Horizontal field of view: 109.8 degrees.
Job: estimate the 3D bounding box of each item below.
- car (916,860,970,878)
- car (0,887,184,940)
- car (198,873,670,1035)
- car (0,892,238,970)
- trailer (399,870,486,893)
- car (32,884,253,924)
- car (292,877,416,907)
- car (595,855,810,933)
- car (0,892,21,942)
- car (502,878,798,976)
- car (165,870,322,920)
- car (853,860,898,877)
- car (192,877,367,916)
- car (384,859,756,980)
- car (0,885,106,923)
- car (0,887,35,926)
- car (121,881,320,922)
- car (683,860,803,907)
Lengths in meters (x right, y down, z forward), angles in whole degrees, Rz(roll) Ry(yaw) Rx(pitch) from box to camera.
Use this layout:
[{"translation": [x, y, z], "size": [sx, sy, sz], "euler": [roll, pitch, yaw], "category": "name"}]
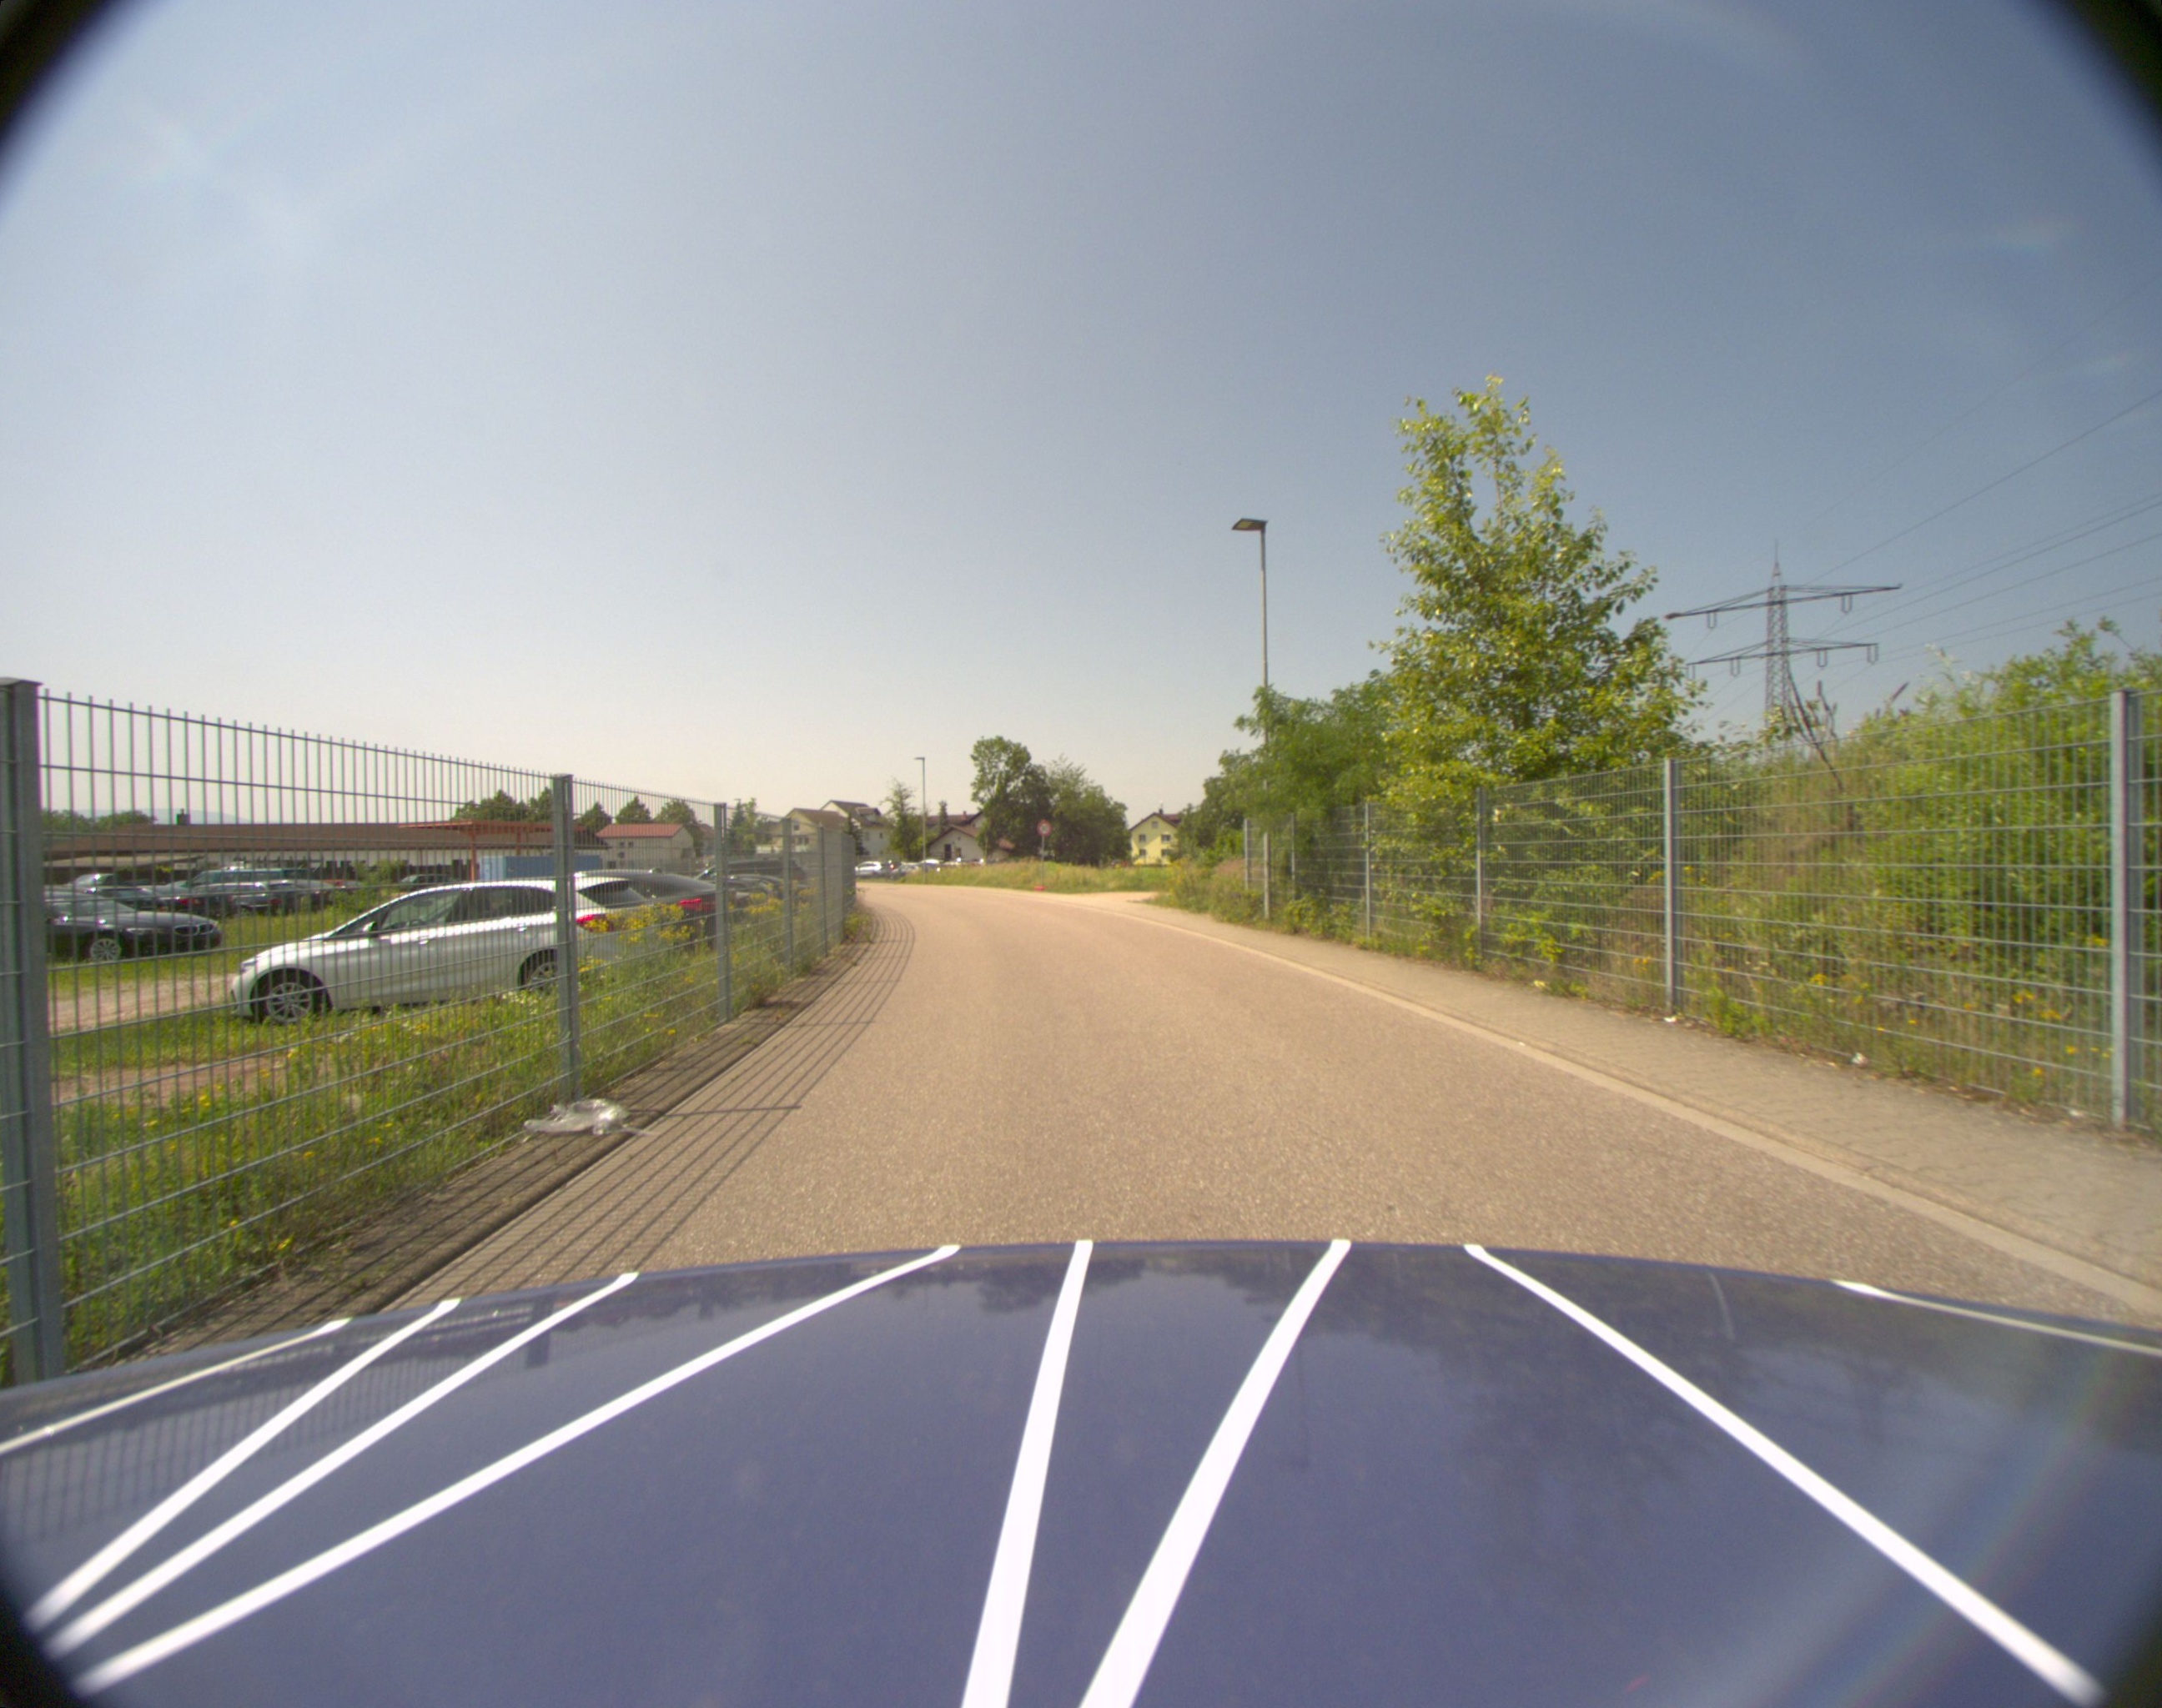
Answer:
[{"translation": [-10.297, 1.106, 56.587], "size": [4.391, 1.326, 1.585], "euler": [-1, 0, 43], "category": "car"}, {"translation": [-27.961, 1.614, 20.711], "size": [4.389, 1.267, 1.877], "euler": [-1, 0, -7], "category": "car"}, {"translation": [-7.645, 1.119, 9.411], "size": [4.135, 1.660, 1.722], "euler": [-1, 0, -9], "category": "car"}, {"translation": [-20.344, 1.501, 15.086], "size": [4.759, 1.344, 1.820], "euler": [-1, 0, -7], "category": "car"}, {"translation": [-46.639, 1.988, 55.625], "size": [1.765, 1.556, 4.626], "euler": [-3, -1, 20], "category": "trailer"}, {"translation": [-28.889, 1.521, 23.511], "size": [4.389, 1.027, 1.618], "euler": [-1, 0, -7], "category": "car"}, {"translation": [-30.106, 1.559, 31.564], "size": [3.375, 1.102, 1.670], "euler": [-1, 0, -7], "category": "car"}, {"translation": [-9.410, 0.944, 19.334], "size": [4.706, 1.758, 1.739], "euler": [-1, 0, -21], "category": "car"}, {"translation": [-27.790, 1.535, 17.351], "size": [4.389, 1.176, 1.576], "euler": [-1, 0, -7], "category": "car"}, {"translation": [-7.877, 1.293, 14.311], "size": [4.483, 1.573, 1.795], "euler": [-1, 0, -8], "category": "car"}, {"translation": [-36.091, 1.727, 32.872], "size": [4.389, 1.970, 1.841], "euler": [-1, 0, -7], "category": "car"}, {"translation": [-18.290, 1.265, 67.522], "size": [3.638, 1.481, 1.584], "euler": [-1, 0, 22], "category": "car"}, {"translation": [-30.372, 1.592, 28.920], "size": [4.389, 1.337, 1.841], "euler": [-1, 0, -7], "category": "car"}, {"translation": [-7.674, 0.930, 11.788], "size": [4.482, 1.660, 1.722], "euler": [-1, 0, -5], "category": "car"}, {"translation": [-41.576, 1.953, 29.588], "size": [4.389, 1.369, 1.841], "euler": [-1, 0, -7], "category": "car"}, {"translation": [-41.040, 1.928, 27.095], "size": [4.389, 1.369, 1.841], "euler": [-1, 0, -7], "category": "car"}, {"translation": [-29.462, 1.602, 26.155], "size": [4.389, 1.198, 1.841], "euler": [-1, 0, -7], "category": "car"}, {"translation": [-11.012, 0.939, 24.881], "size": [3.481, 1.409, 1.513], "euler": [-1, 0, -23], "category": "car"}]
